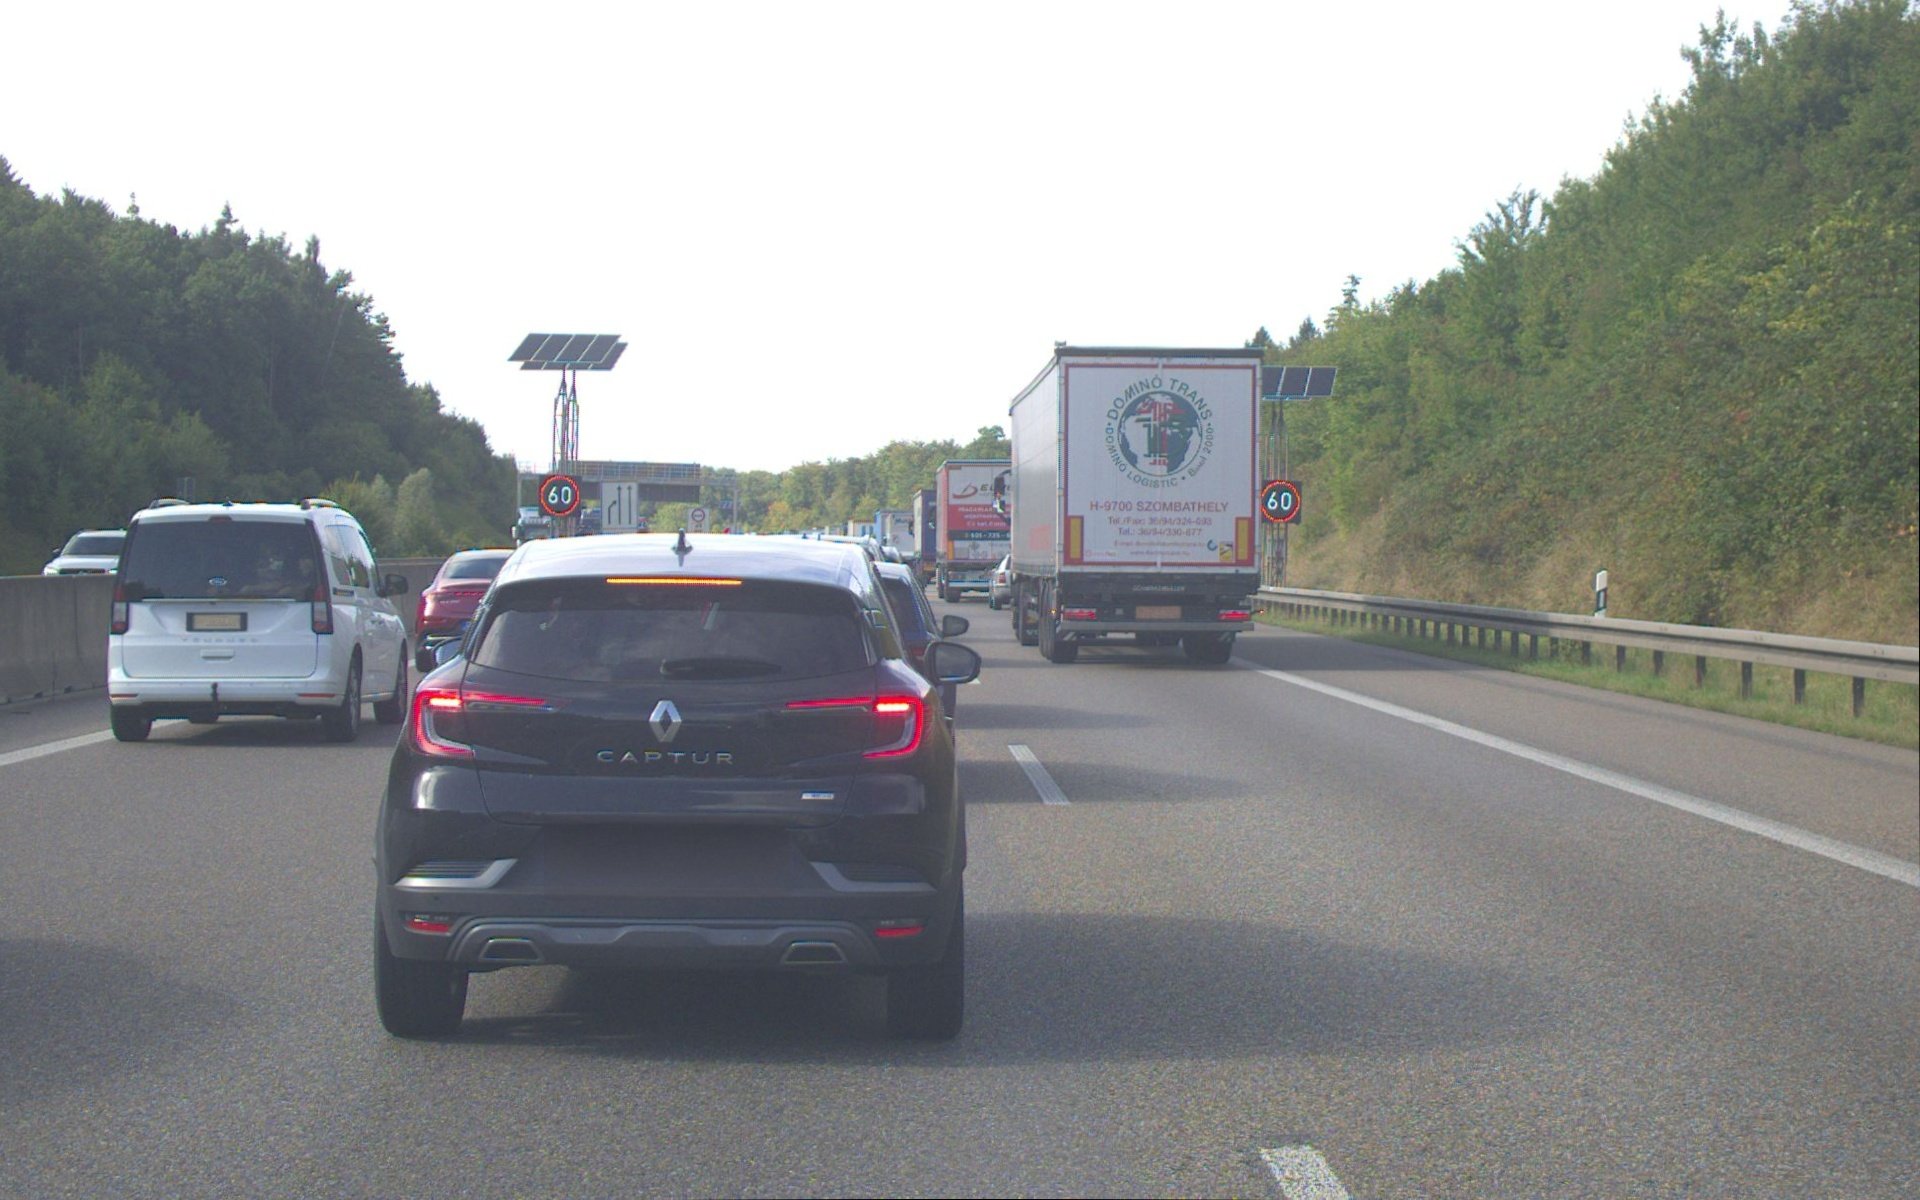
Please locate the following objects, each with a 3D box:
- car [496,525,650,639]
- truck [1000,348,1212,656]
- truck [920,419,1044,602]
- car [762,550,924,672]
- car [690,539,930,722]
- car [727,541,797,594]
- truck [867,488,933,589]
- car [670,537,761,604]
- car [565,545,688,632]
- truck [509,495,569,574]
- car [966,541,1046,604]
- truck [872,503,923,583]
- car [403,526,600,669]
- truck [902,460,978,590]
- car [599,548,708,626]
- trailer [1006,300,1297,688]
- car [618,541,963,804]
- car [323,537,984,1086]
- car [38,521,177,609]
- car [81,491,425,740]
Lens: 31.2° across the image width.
[{"bbox_3d":[-6.091,-0.296,54.494,1.993,1.716,4.000,1,0,0],"label":"car"},{"bbox_3d":[2.249,-1.531,55.076,2.997,4.651,5.940,0,1,-1],"label":"truck"},{"bbox_3d":[0.576,-2.521,101.225,3.365,5.027,12.737,1,0,0],"label":"truck"},{"bbox_3d":[-1.489,0.123,45.100,1.993,1.509,4.000,1,0,0],"label":"car"},{"bbox_3d":[-1.270,0.237,30.734,1.993,1.509,4.000,1,0,0],"label":"car"},{"bbox_3d":[-6.191,-1.028,108.031,1.993,1.607,4.000,0,1,0],"label":"car"},{"bbox_3d":[-3.329,-3.422,194.076,3.167,5.486,12.737,1,0,1],"label":"truck"},{"bbox_3d":[-6.048,-0.757,85.258,1.993,1.607,4.000,0,1,0],"label":"car"},{"bbox_3d":[-6.365,-0.232,66.059,1.993,1.607,4.000,1,0,0],"label":"car"},{"bbox_3d":[-27.575,-4.291,225.558,2.890,5.075,10.081,1,1,-1],"label":"truck"},{"bbox_3d":[1.121,-0.684,86.044,1.804,1.527,3.926,1,0,-2],"label":"car"},{"bbox_3d":[-4.129,-3.762,228.805,3.166,5.142,12.737,1,0,0],"label":"truck"},{"bbox_3d":[-5.545,-0.043,41.988,1.855,1.635,3.926,1,0,0],"label":"car"},{"bbox_3d":[-0.857,-3.251,152.680,3.166,5.486,12.737,1,0,0],"label":"truck"},{"bbox_3d":[-6.526,-0.292,73.593,1.993,1.607,4.000,1,0,0],"label":"car"},{"bbox_3d":[2.401,-1.394,48.097,3.002,4.645,13.291,0,1,-1],"label":"trailer"},{"bbox_3d":[-1.004,0.408,22.045,1.993,1.509,4.000,1,0,0],"label":"car"},{"bbox_3d":[-0.855,0.571,11.727,1.804,1.547,4.000,0,1,1],"label":"car"},{"bbox_3d":[-18.238,-0.773,73.756,1.852,1.803,4.925,1,1,-1],"label":"car"},{"bbox_3d":[-5.458,0.094,27.083,1.911,1.783,4.418,1,0,-2],"label":"car"}]
